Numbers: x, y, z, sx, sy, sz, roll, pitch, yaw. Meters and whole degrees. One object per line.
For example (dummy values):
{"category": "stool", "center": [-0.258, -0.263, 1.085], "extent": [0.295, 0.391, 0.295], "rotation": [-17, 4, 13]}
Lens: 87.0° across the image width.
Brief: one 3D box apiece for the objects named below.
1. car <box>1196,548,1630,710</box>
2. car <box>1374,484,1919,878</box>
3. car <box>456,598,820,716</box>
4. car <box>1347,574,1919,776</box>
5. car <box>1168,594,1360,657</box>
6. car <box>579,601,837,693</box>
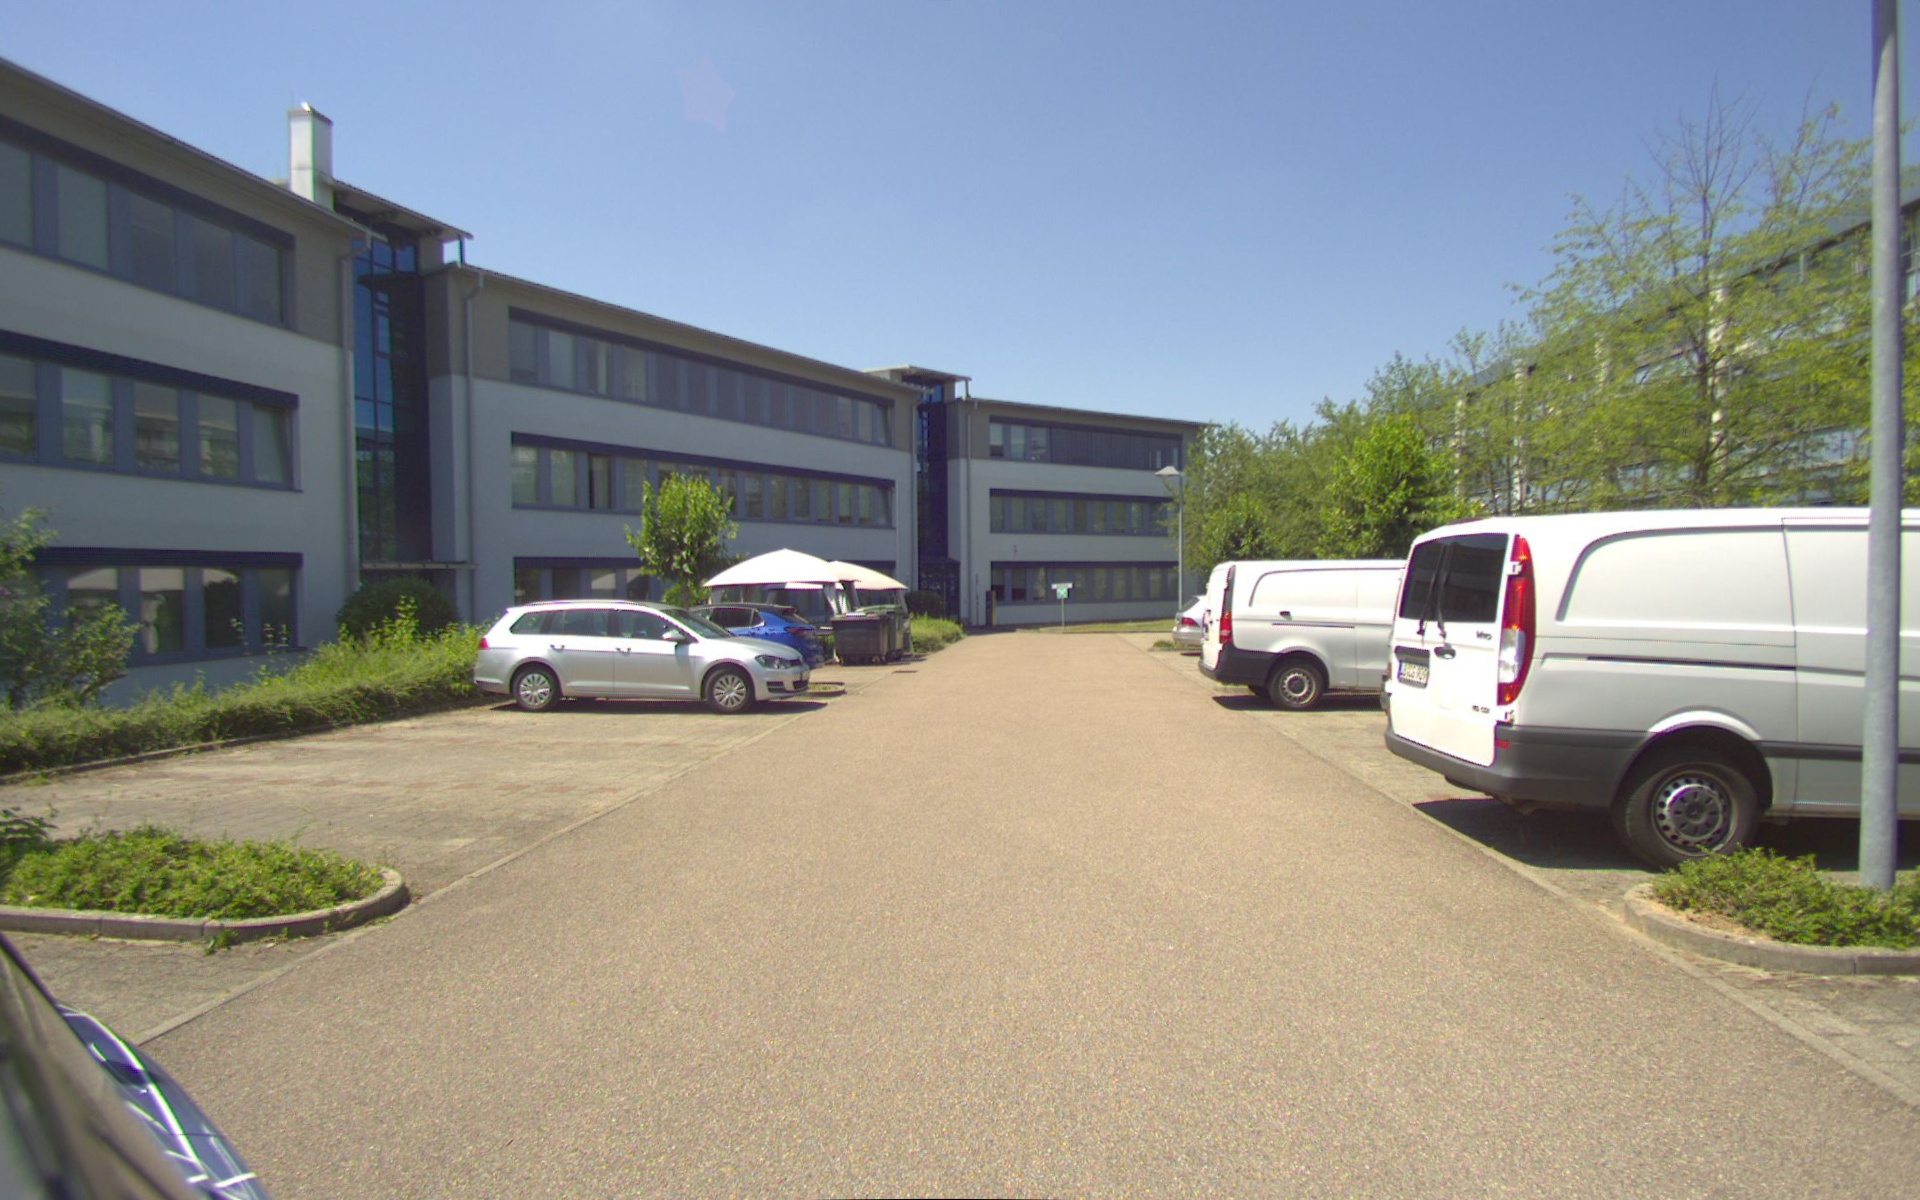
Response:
{"category": "car", "center": [5.626, 0.368, 13.144], "extent": [4.745, 1.905, 1.884], "rotation": [-1, 0, 7]}
{"category": "car", "center": [5.186, 0.389, 5.860], "extent": [4.745, 1.919, 1.917], "rotation": [-1, 0, 4]}
{"category": "car", "center": [-4.314, 0.735, 13.970], "extent": [4.427, 1.483, 1.861], "rotation": [0, 0, 5]}
{"category": "car", "center": [5.693, 0.576, 8.792], "extent": [3.940, 1.487, 1.762], "rotation": [-1, 0, -4]}
{"category": "car", "center": [7.145, 0.579, 24.155], "extent": [4.121, 1.417, 1.869], "rotation": [-1, 0, 8]}
{"category": "car", "center": [-4.350, 0.795, 17.823], "extent": [3.953, 1.473, 1.995], "rotation": [-1, 0, 8]}
